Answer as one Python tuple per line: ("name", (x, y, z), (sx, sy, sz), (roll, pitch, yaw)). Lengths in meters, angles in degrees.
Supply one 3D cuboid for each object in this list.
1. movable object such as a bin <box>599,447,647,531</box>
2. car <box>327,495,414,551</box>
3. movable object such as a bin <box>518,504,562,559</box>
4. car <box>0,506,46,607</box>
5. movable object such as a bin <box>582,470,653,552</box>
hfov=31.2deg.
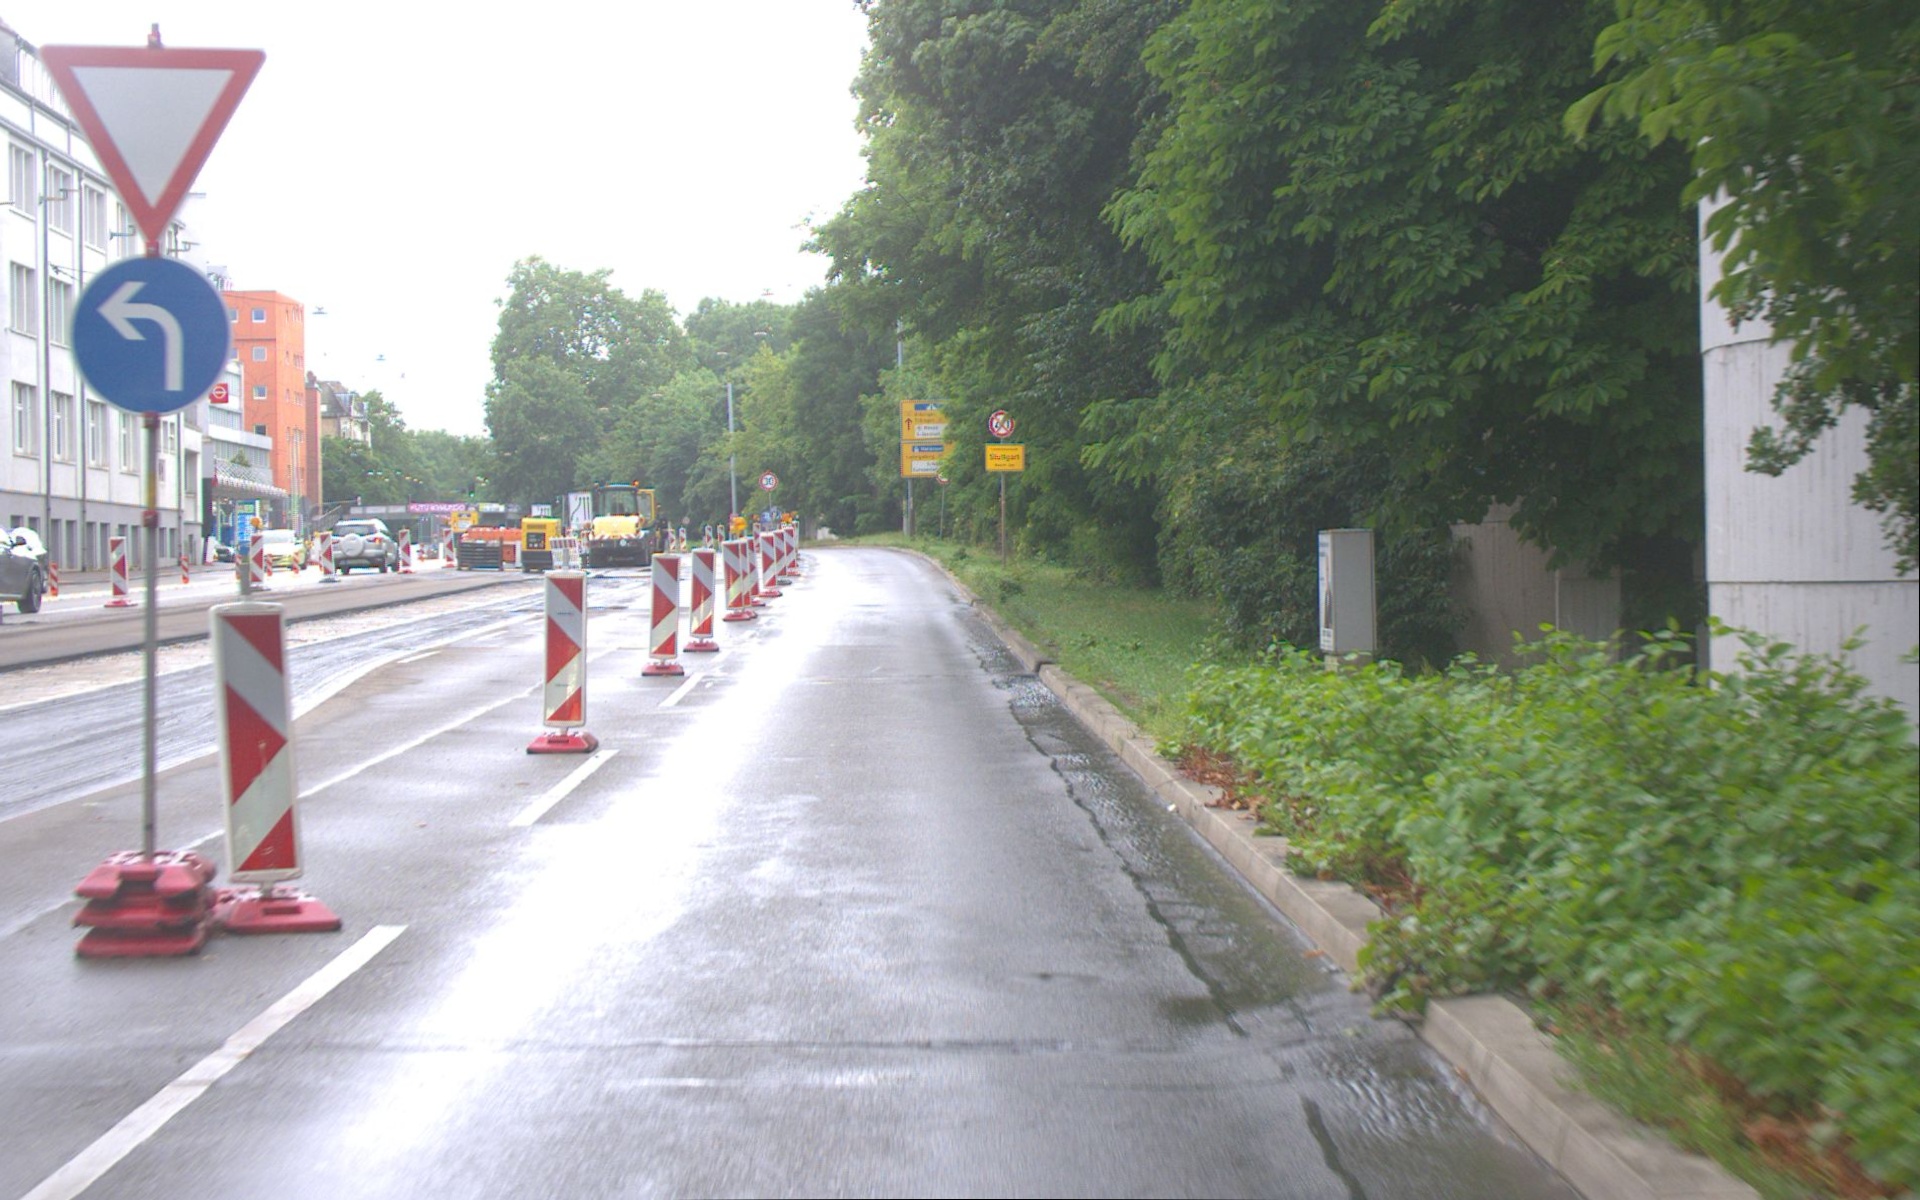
("movable object such as a bin", (-12.507, -4.115, 127.821), (1.465, 2.998, 3.725), (-3, 2, -3))
("car", (-17.789, -2.324, 103.897), (1.892, 1.644, 4.396), (0, 1, -1))
("movable object such as a bin", (-12.714, -2.071, 104.131), (1.083, 1.639, 2.439), (-1, 1, -2))
("car", (-16.520, -0.719, 56.472), (1.892, 1.644, 4.396), (0, 1, -1))
("movable object such as a bin", (-11.172, -2.922, 112.500), (1.902, 2.600, 5.383), (-1, 2, -2))
